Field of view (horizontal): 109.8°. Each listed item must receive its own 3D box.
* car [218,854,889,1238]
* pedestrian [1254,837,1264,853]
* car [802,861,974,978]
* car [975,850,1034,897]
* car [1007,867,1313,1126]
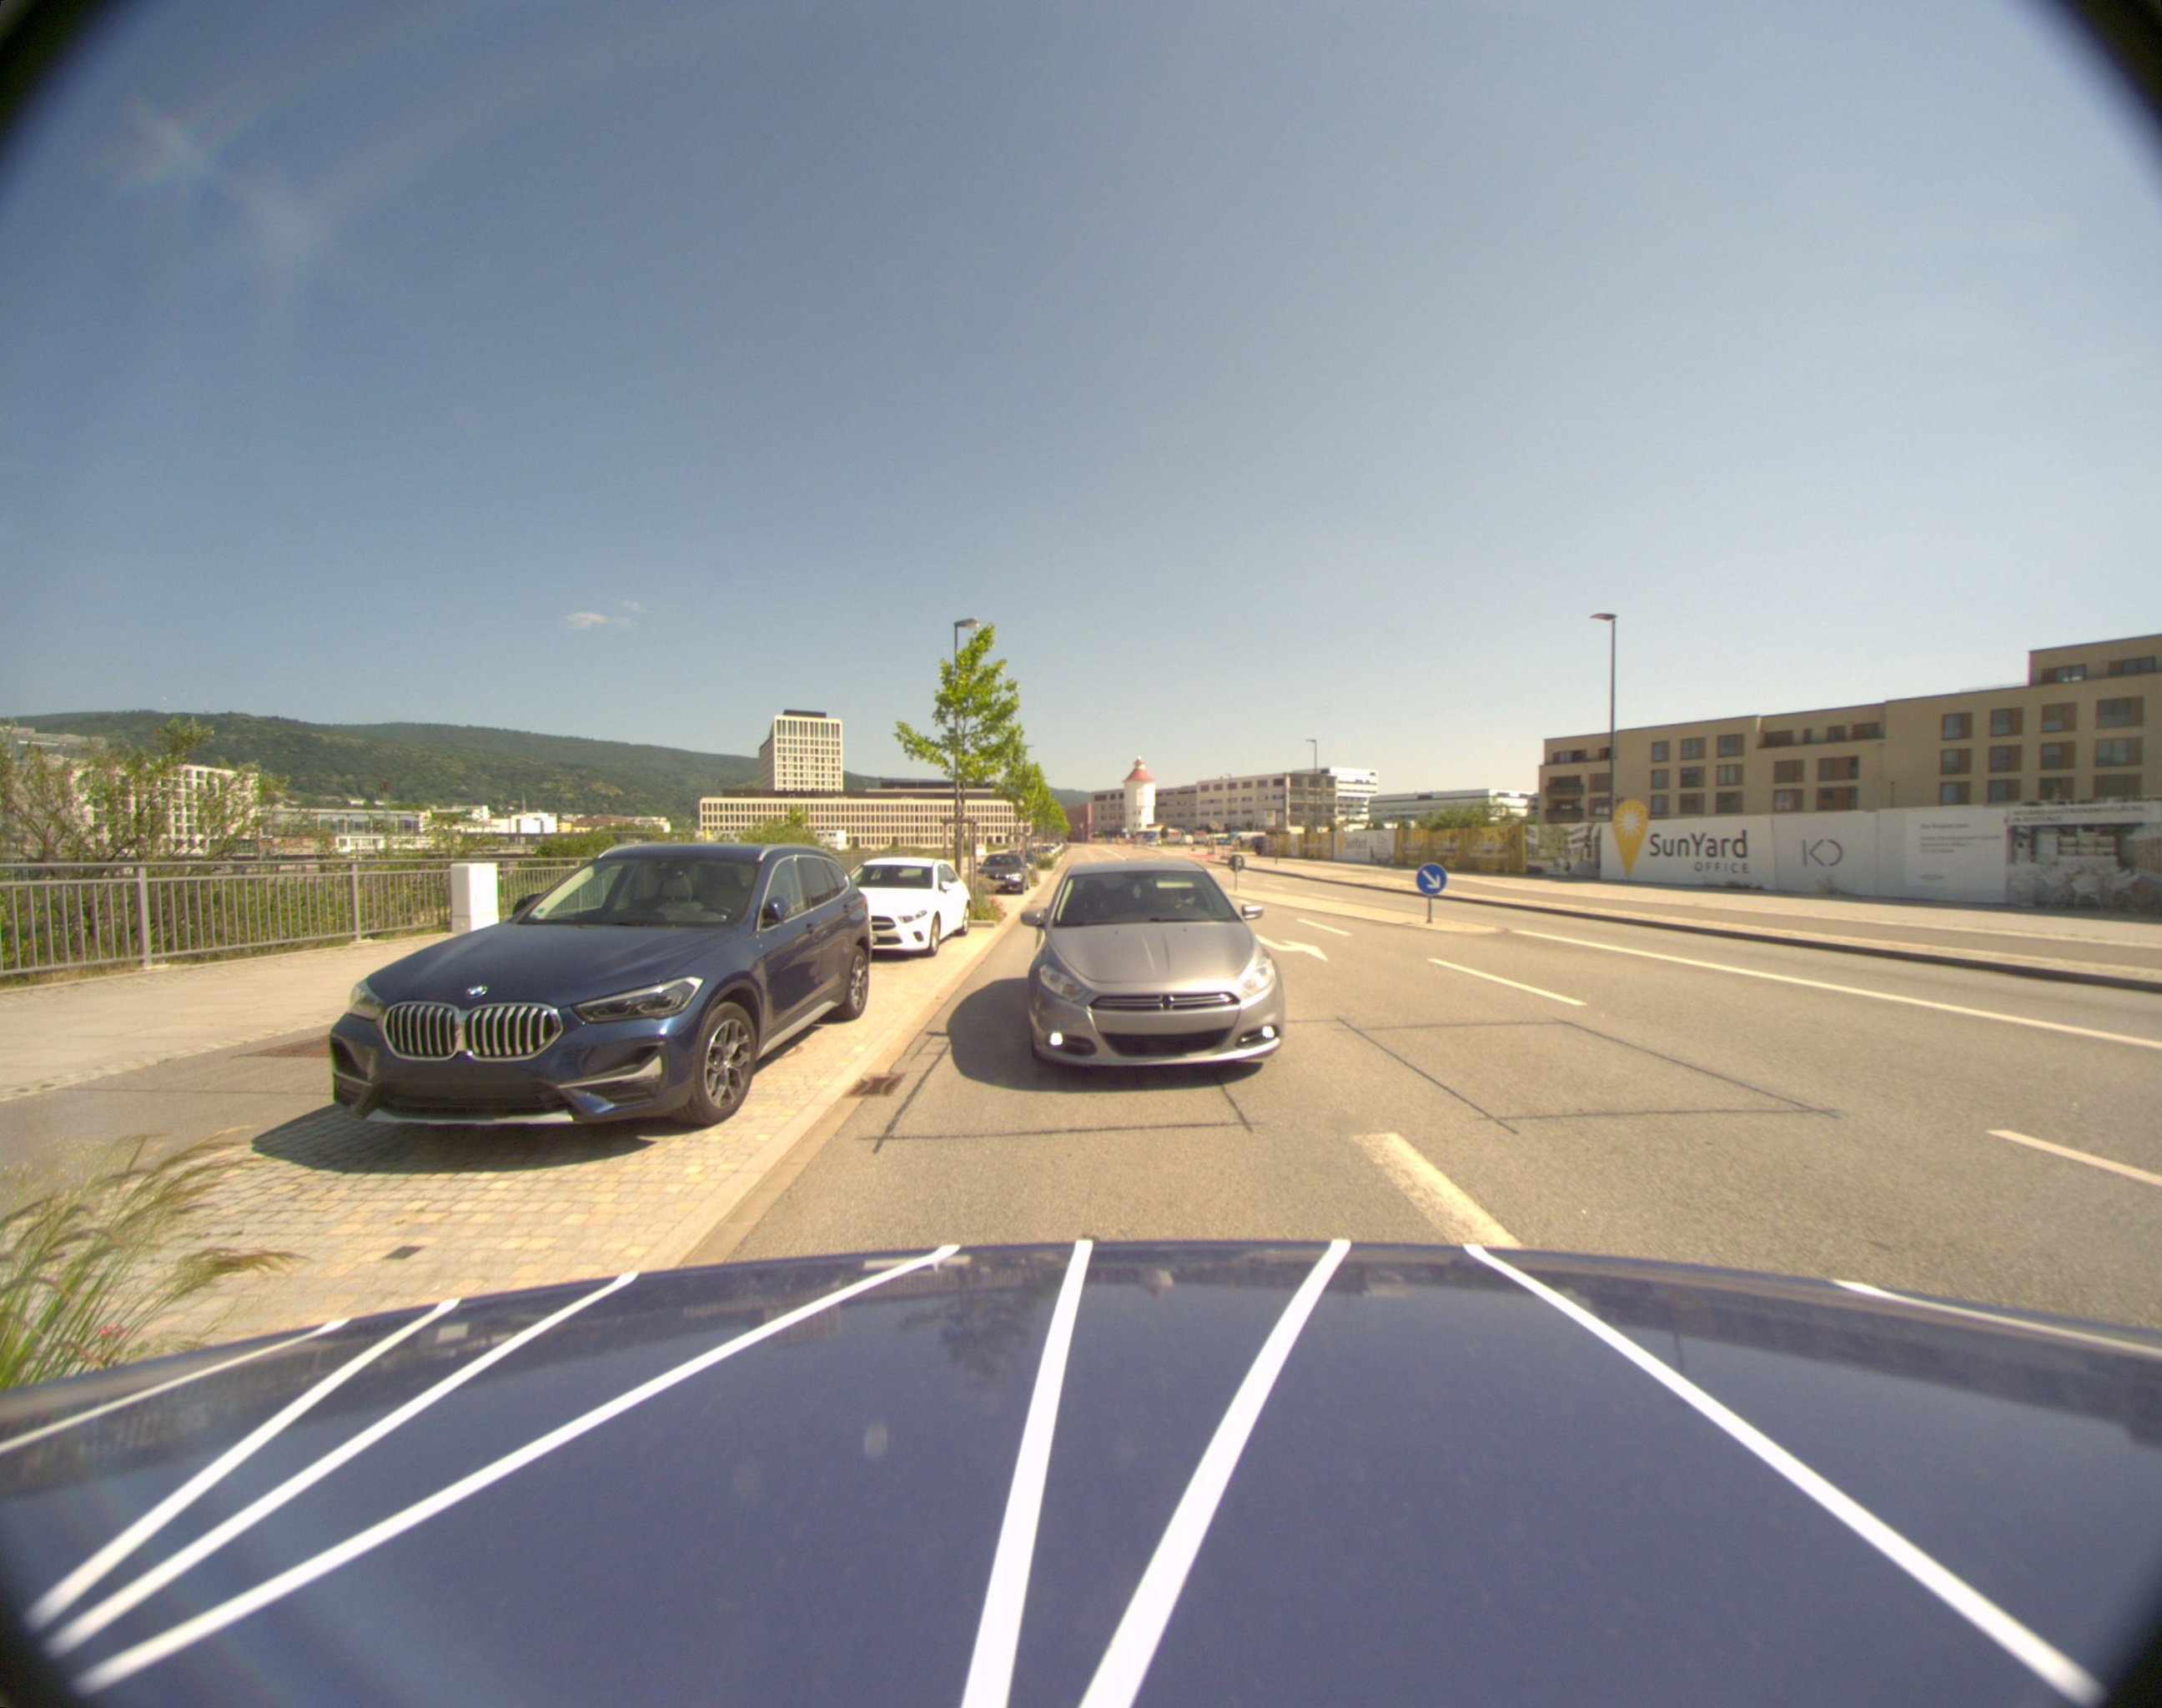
[{"bbox_3d":[-2.861,0.854,5.476,1.769,1.598,4.238,-2,1,1],"label":"car"},{"bbox_3d":[18.144,-0.954,77.619,0.705,1.577,0.617,-3,1,-36],"label":"pedestrian"},{"bbox_3d":[-2.889,0.908,12.272,1.664,1.447,3.999,-2,1,1],"label":"car"},{"bbox_3d":[-2.744,0.649,28.031,1.664,1.529,3.999,-2,1,1],"label":"car"},{"bbox_3d":[0.504,0.897,6.628,1.784,1.372,4.135,-2,1,1],"label":"car"}]
